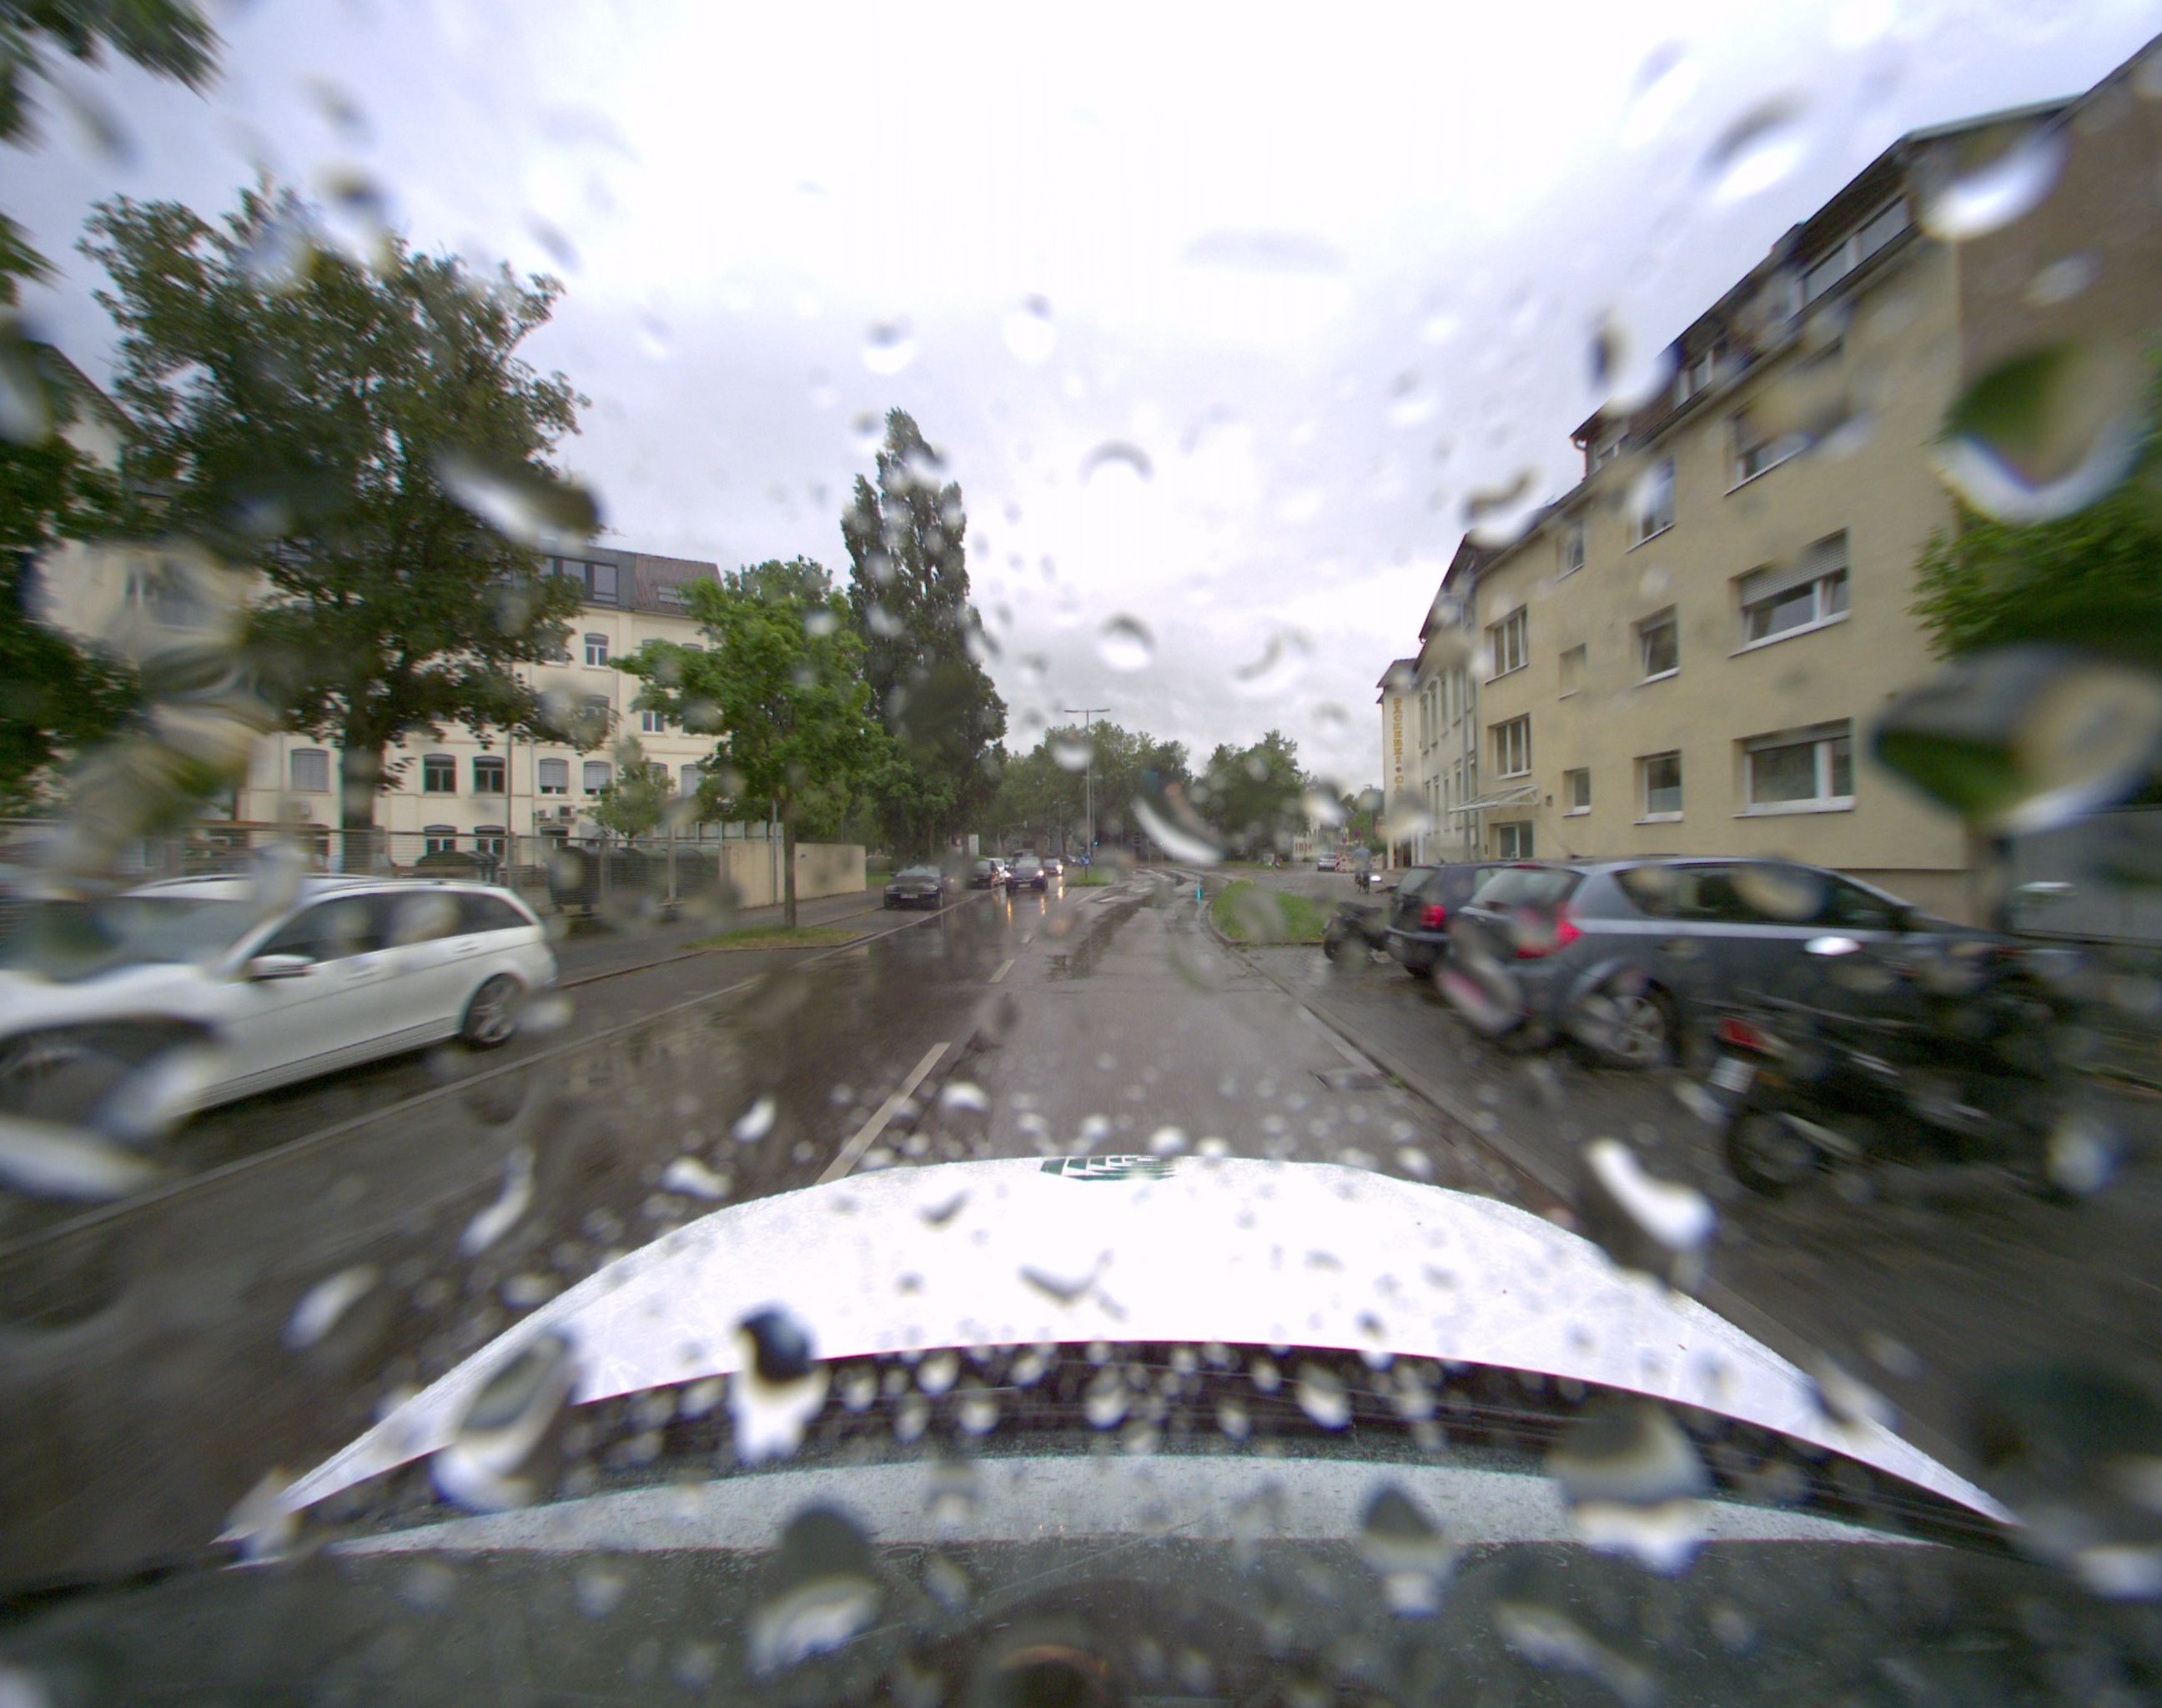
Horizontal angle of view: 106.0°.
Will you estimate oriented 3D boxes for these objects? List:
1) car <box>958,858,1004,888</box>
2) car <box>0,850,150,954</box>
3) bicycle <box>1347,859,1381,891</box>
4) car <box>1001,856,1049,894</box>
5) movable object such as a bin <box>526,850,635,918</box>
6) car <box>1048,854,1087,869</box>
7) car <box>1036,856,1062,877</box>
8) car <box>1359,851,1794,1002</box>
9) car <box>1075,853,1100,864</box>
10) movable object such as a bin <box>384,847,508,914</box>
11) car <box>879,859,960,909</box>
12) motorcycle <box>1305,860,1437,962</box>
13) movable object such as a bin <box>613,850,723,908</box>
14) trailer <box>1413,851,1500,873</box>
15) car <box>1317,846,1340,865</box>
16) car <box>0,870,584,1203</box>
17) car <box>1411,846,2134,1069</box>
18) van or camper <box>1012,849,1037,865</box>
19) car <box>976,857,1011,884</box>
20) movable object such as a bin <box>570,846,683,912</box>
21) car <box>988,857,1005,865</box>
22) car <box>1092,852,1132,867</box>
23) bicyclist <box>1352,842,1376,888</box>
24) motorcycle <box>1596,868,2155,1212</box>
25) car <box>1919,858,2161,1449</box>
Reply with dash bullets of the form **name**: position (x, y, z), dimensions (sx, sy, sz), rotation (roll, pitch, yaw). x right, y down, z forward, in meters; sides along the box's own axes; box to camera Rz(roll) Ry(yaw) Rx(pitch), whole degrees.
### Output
- **car**: position (-4.901, 0.912, 40.467), dimensions (1.721, 1.383, 4.179), rotation (1, -1, 0)
- **car**: position (-18.841, 0.784, 14.281), dimensions (2.005, 1.640, 3.963), rotation (0, -1, -28)
- **bicycle**: position (9.731, 0.703, 28.044), dimensions (0.669, 1.060, 1.975), rotation (0, 0, 6)
- **car**: position (-2.374, 0.870, 35.534), dimensions (1.700, 1.501, 3.946), rotation (-2, -1, 1)
- **movable object such as a bin**: position (-10.519, 0.612, 17.180), dimensions (1.485, 1.367, 1.263), rotation (0, -1, 2)
- **car**: position (-1.650, 0.852, 97.792), dimensions (4.255, 1.744, 2.010), rotation (-1, -1, 20)
- **car**: position (-2.392, 0.914, 61.496), dimensions (1.721, 1.393, 3.949), rotation (-4, 0, 0)
- **car**: position (5.242, 0.725, 9.026), dimensions (3.737, 1.454, 1.802), rotation (0, 1, 2)
- **car**: position (0.868, 0.636, 109.821), dimensions (1.716, 1.411, 3.611), rotation (-3, 1, -28)
- **movable object such as a bin**: position (-13.600, 0.543, 17.530), dimensions (1.211, 1.367, 1.790), rotation (0, -1, 2)
- **car**: position (-4.989, 0.887, 25.678), dimensions (1.690, 1.445, 4.098), rotation (0, 0, 1)
- **motorcycle**: position (3.958, 0.763, 11.190), dimensions (1.584, 1.324, 0.695), rotation (0, 1, 0)
- **movable object such as a bin**: position (-10.636, 0.617, 21.066), dimensions (1.902, 1.424, 1.757), rotation (0, -1, 2)
- **trailer**: position (22.508, 0.496, 48.818), dimensions (4.475, 1.232, 1.836), rotation (-1, -1, 34)
- **car**: position (19.390, 0.101, 63.900), dimensions (1.622, 1.433, 4.193), rotation (-1, -1, 15)
- **car**: position (-5.759, 0.873, 5.590), dimensions (1.768, 1.460, 4.680), rotation (0, 0, 1)
- **car**: position (4.993, 0.691, 6.414), dimensions (4.038, 1.454, 1.935), rotation (0, 1, 2)
- **van or camper**: position (-10.627, 0.540, 152.500), dimensions (2.331, 2.807, 6.804), rotation (0, -1, -26)
- **car**: position (-4.986, 0.903, 46.695), dimensions (1.597, 1.474, 4.120), rotation (0, -1, -1)
- **movable object such as a bin**: position (-10.530, 0.557, 18.968), dimensions (1.553, 1.441, 1.832), rotation (0, -1, 2)
- **car**: position (-17.064, 1.379, 163.962), dimensions (1.927, 1.620, 4.329), rotation (0, -1, -29)
- **car**: position (3.532, 0.626, 92.886), dimensions (4.042, 1.602, 2.010), rotation (-1, -1, 19)
- **bicyclist**: position (9.744, 0.370, 28.067), dimensions (0.635, 1.582, 0.717), rotation (0, 0, 5)
- **motorcycle**: position (3.447, 0.761, 3.677), dimensions (1.755, 1.373, 0.735), rotation (0, -1, 2)
- **car**: position (4.639, 0.737, 1.649), dimensions (3.898, 1.480, 1.858), rotation (0, -1, 2)
